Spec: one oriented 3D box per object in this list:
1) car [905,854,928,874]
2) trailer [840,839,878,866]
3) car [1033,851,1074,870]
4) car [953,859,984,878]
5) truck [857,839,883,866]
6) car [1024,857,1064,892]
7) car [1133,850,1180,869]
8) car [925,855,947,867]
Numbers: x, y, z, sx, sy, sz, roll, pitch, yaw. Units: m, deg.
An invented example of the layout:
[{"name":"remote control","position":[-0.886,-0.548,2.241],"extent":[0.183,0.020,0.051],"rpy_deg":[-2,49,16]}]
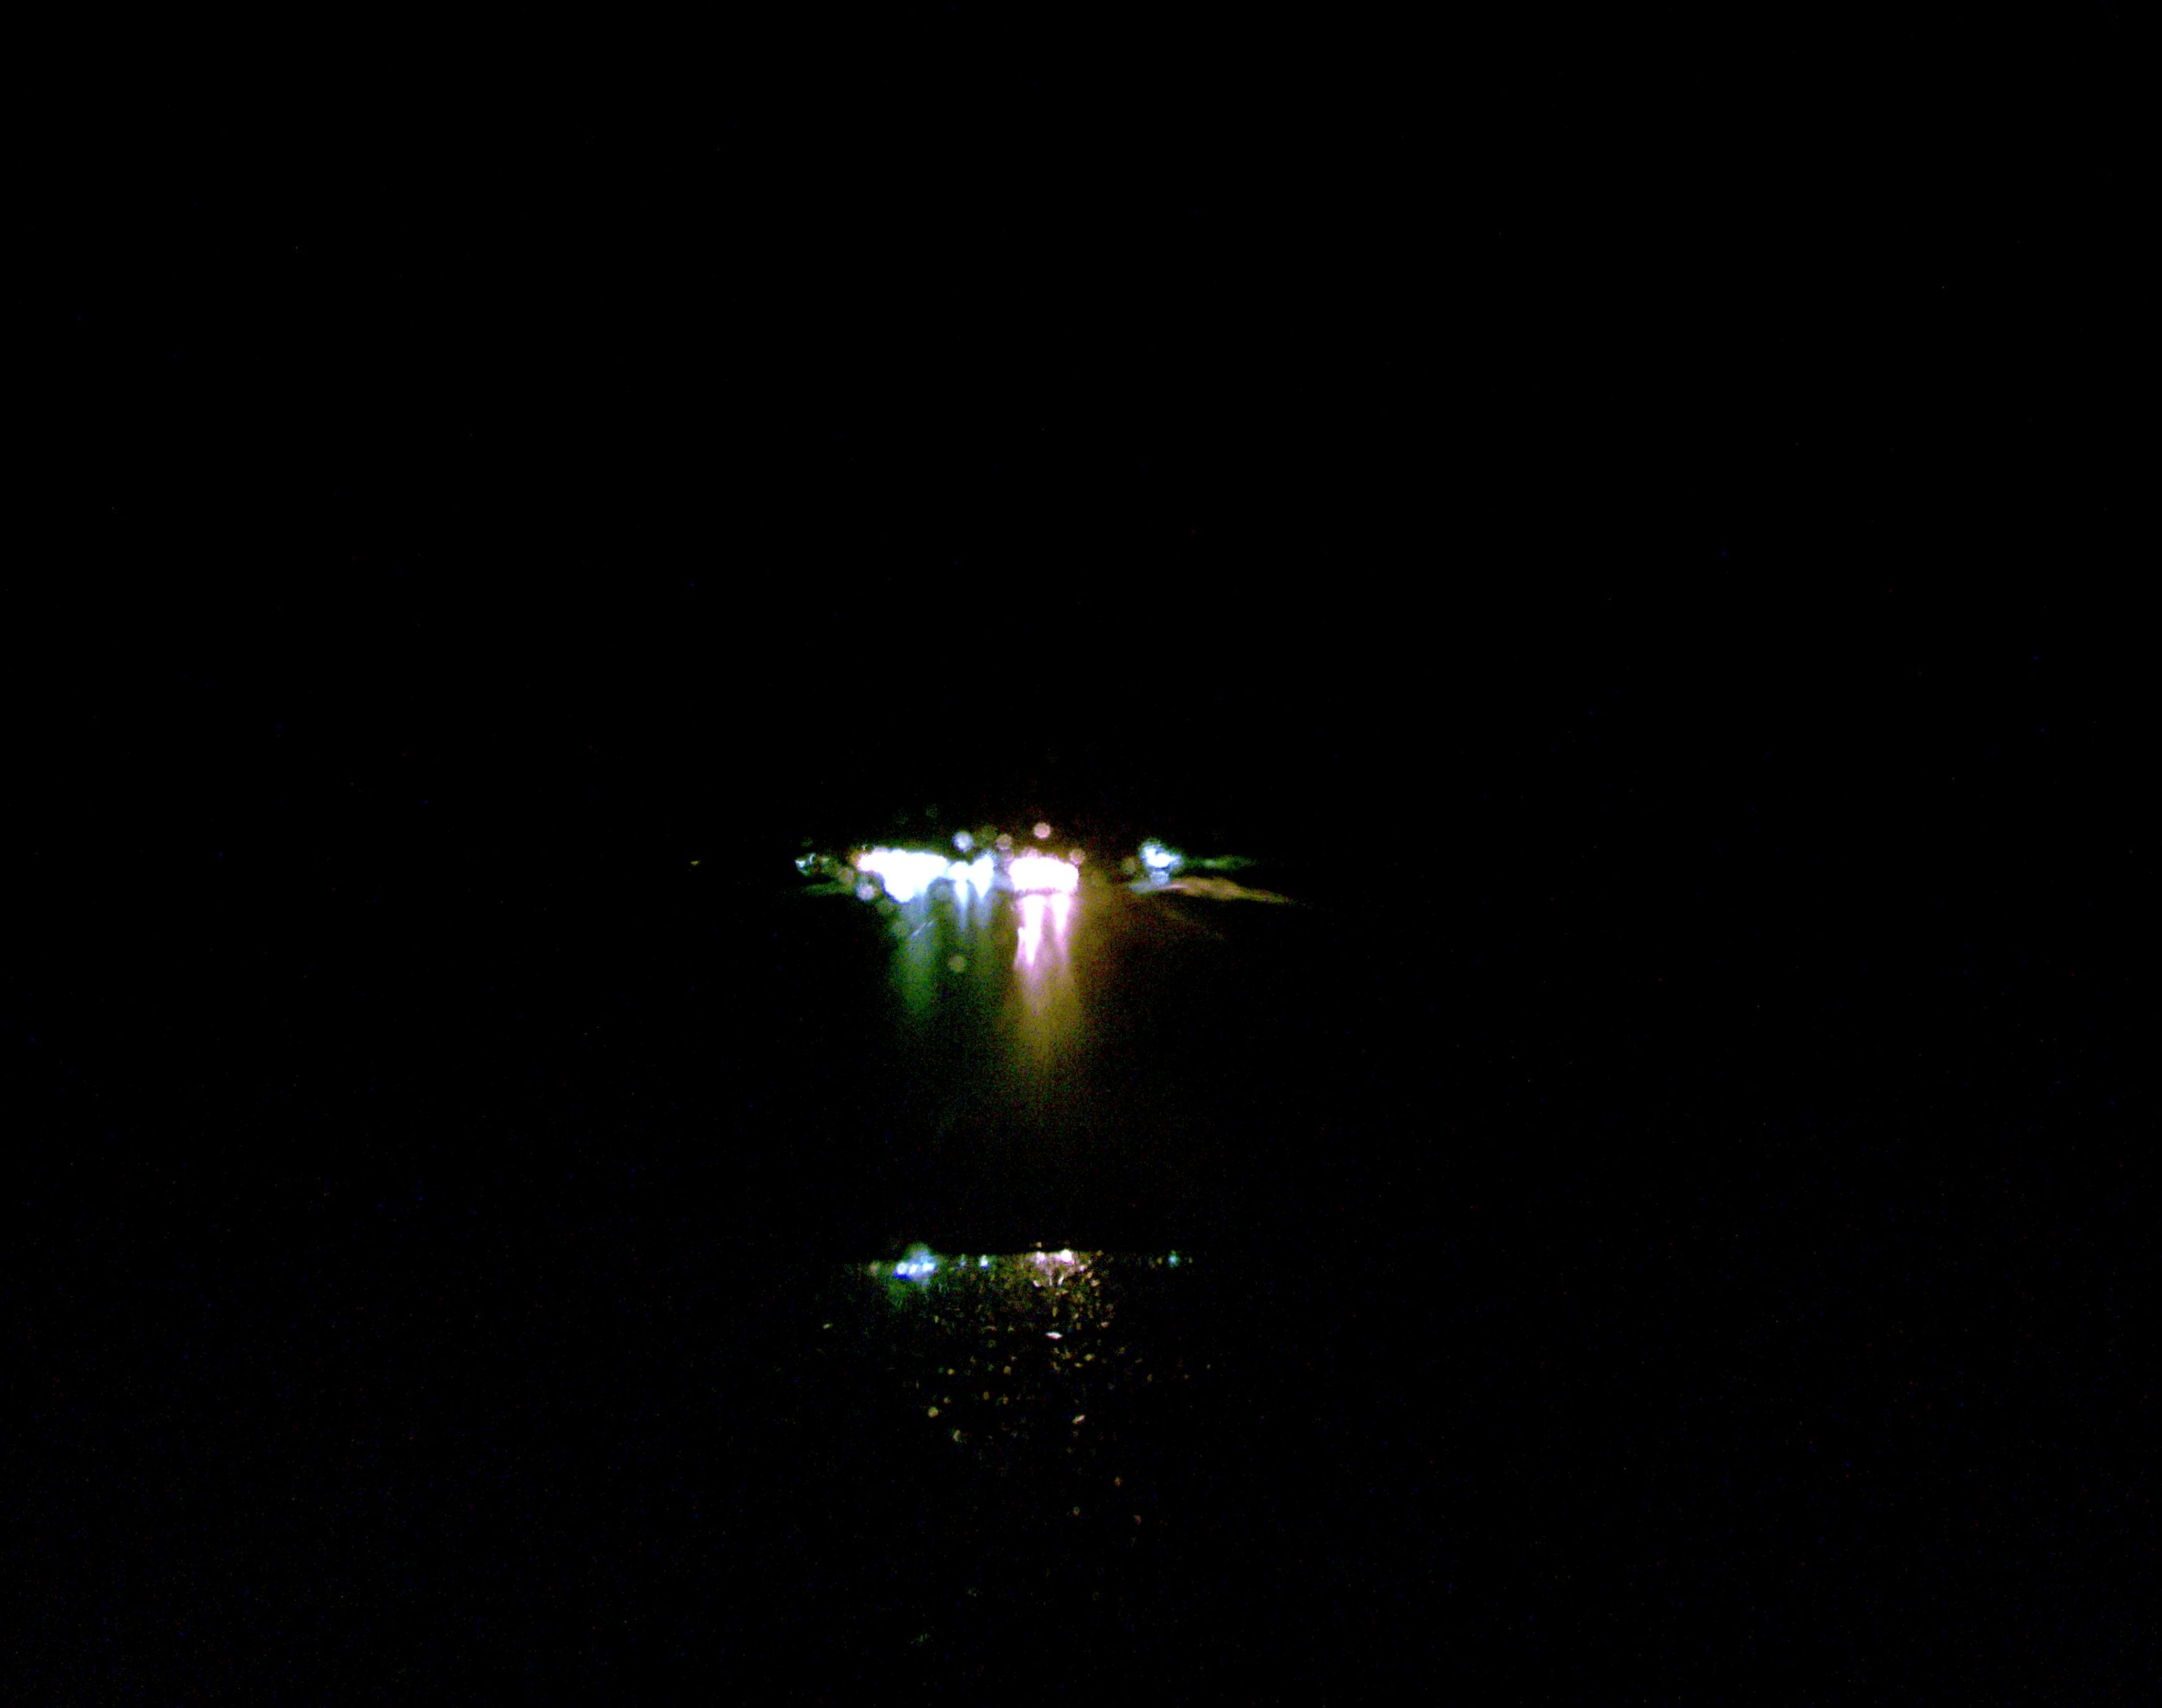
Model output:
[{"name":"car","position":[-15.415,0.906,71.186],"extent":[1.743,1.674,4.115],"rpy_deg":[-4,1,-16]},{"name":"trailer","position":[-39.172,-0.178,133.441],"extent":[2.544,4.311,13.676],"rpy_deg":[-3,1,-32]},{"name":"car","position":[-2.427,0.593,66.742],"extent":[1.734,1.473,4.032],"rpy_deg":[-5,1,-31]},{"name":"car","position":[-8.352,1.071,56.051],"extent":[1.762,1.304,4.080],"rpy_deg":[-1,0,-15]},{"name":"truck","position":[-35.442,-0.289,127.578],"extent":[2.544,4.311,5.550],"rpy_deg":[-3,1,-32]},{"name":"car","position":[-1.745,0.878,34.818],"extent":[1.687,1.442,3.641],"rpy_deg":[-2,0,-4]},{"name":"car","position":[6.529,0.454,66.012],"extent":[1.893,1.532,4.100],"rpy_deg":[-2,1,-31]},{"name":"car","position":[-21.204,1.012,111.238],"extent":[1.793,1.641,4.044],"rpy_deg":[-3,-1,-32]}]
